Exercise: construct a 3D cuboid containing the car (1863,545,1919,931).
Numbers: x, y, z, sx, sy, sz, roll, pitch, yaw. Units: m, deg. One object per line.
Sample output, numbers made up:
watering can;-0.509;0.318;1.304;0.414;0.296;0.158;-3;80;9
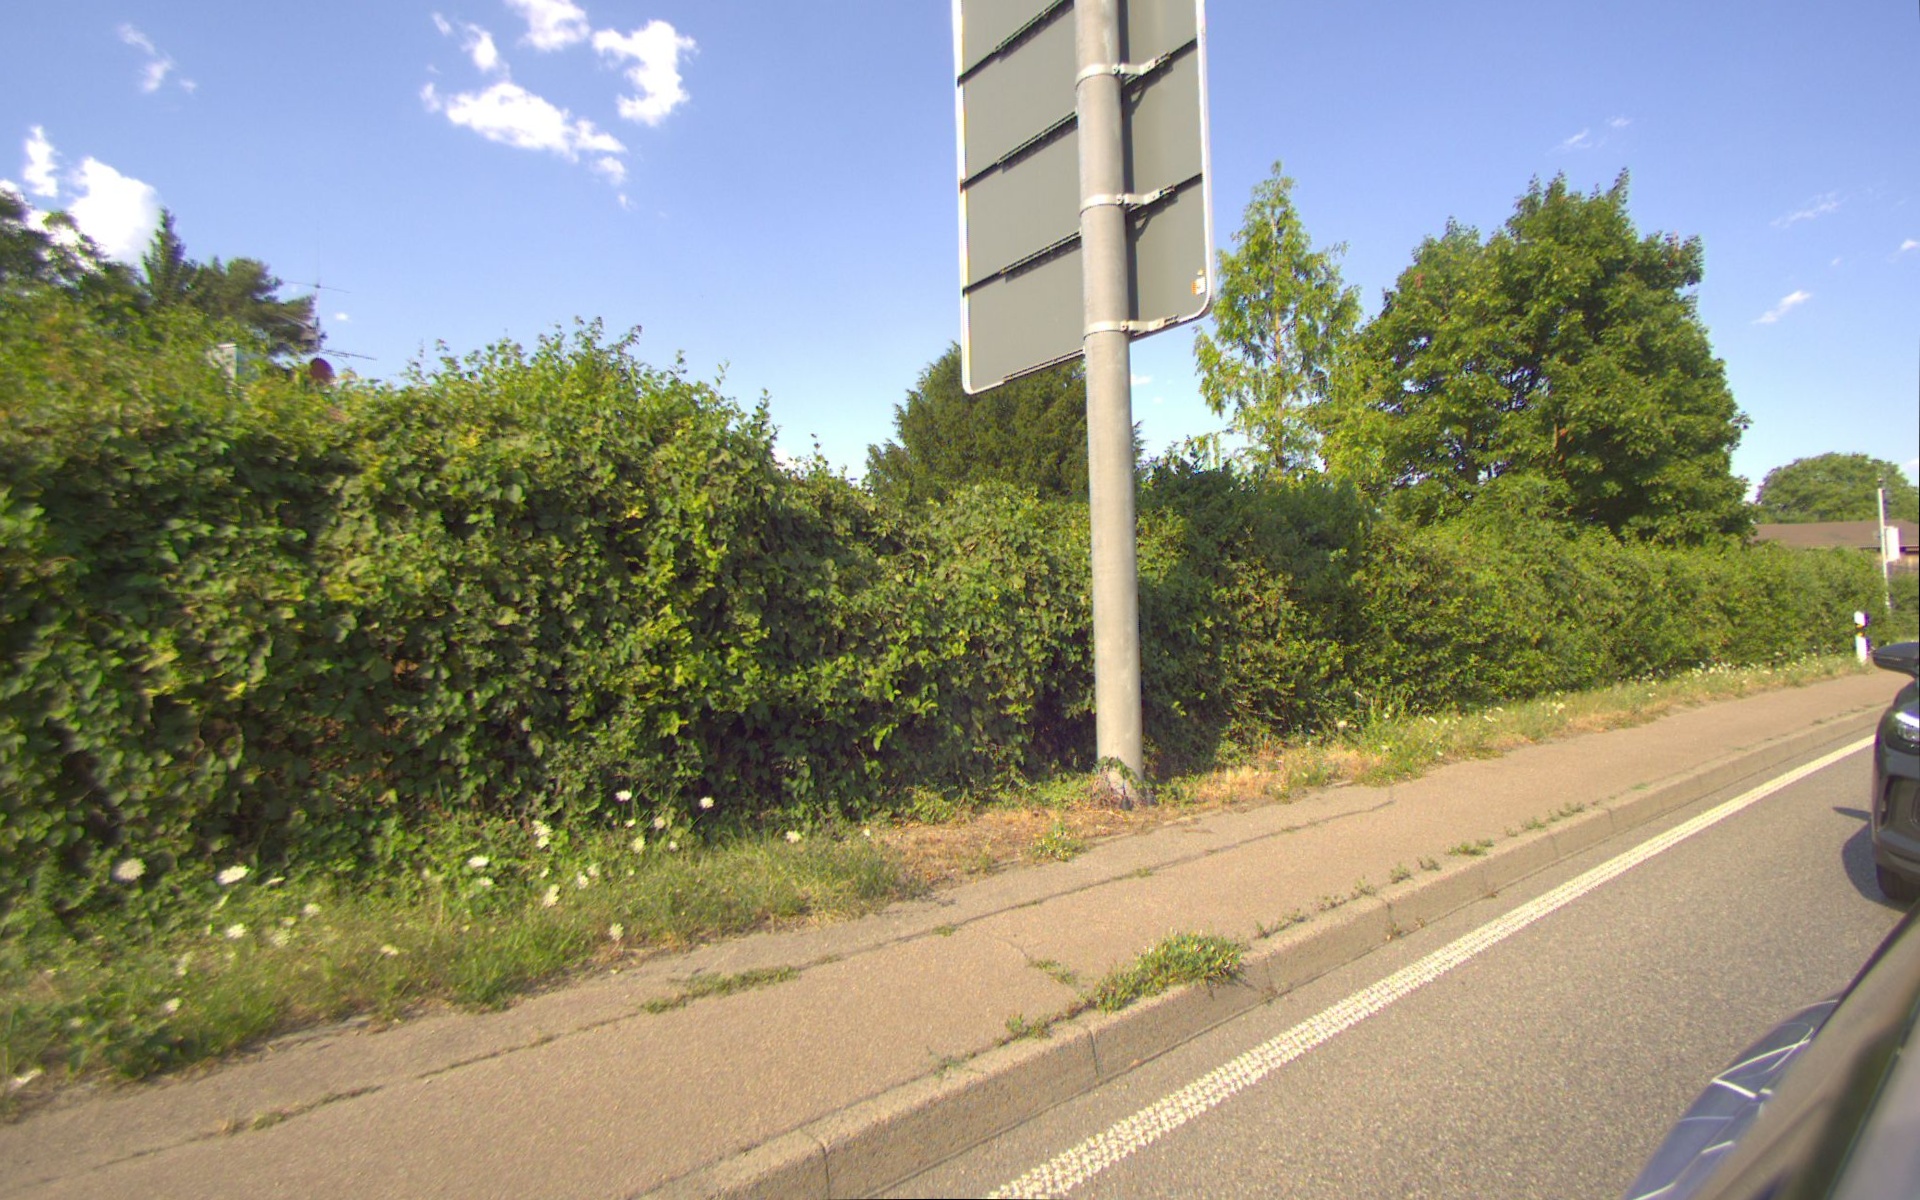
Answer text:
car;6.089;0.563;5.073;3.932;1.662;1.864;-2;2;-41
